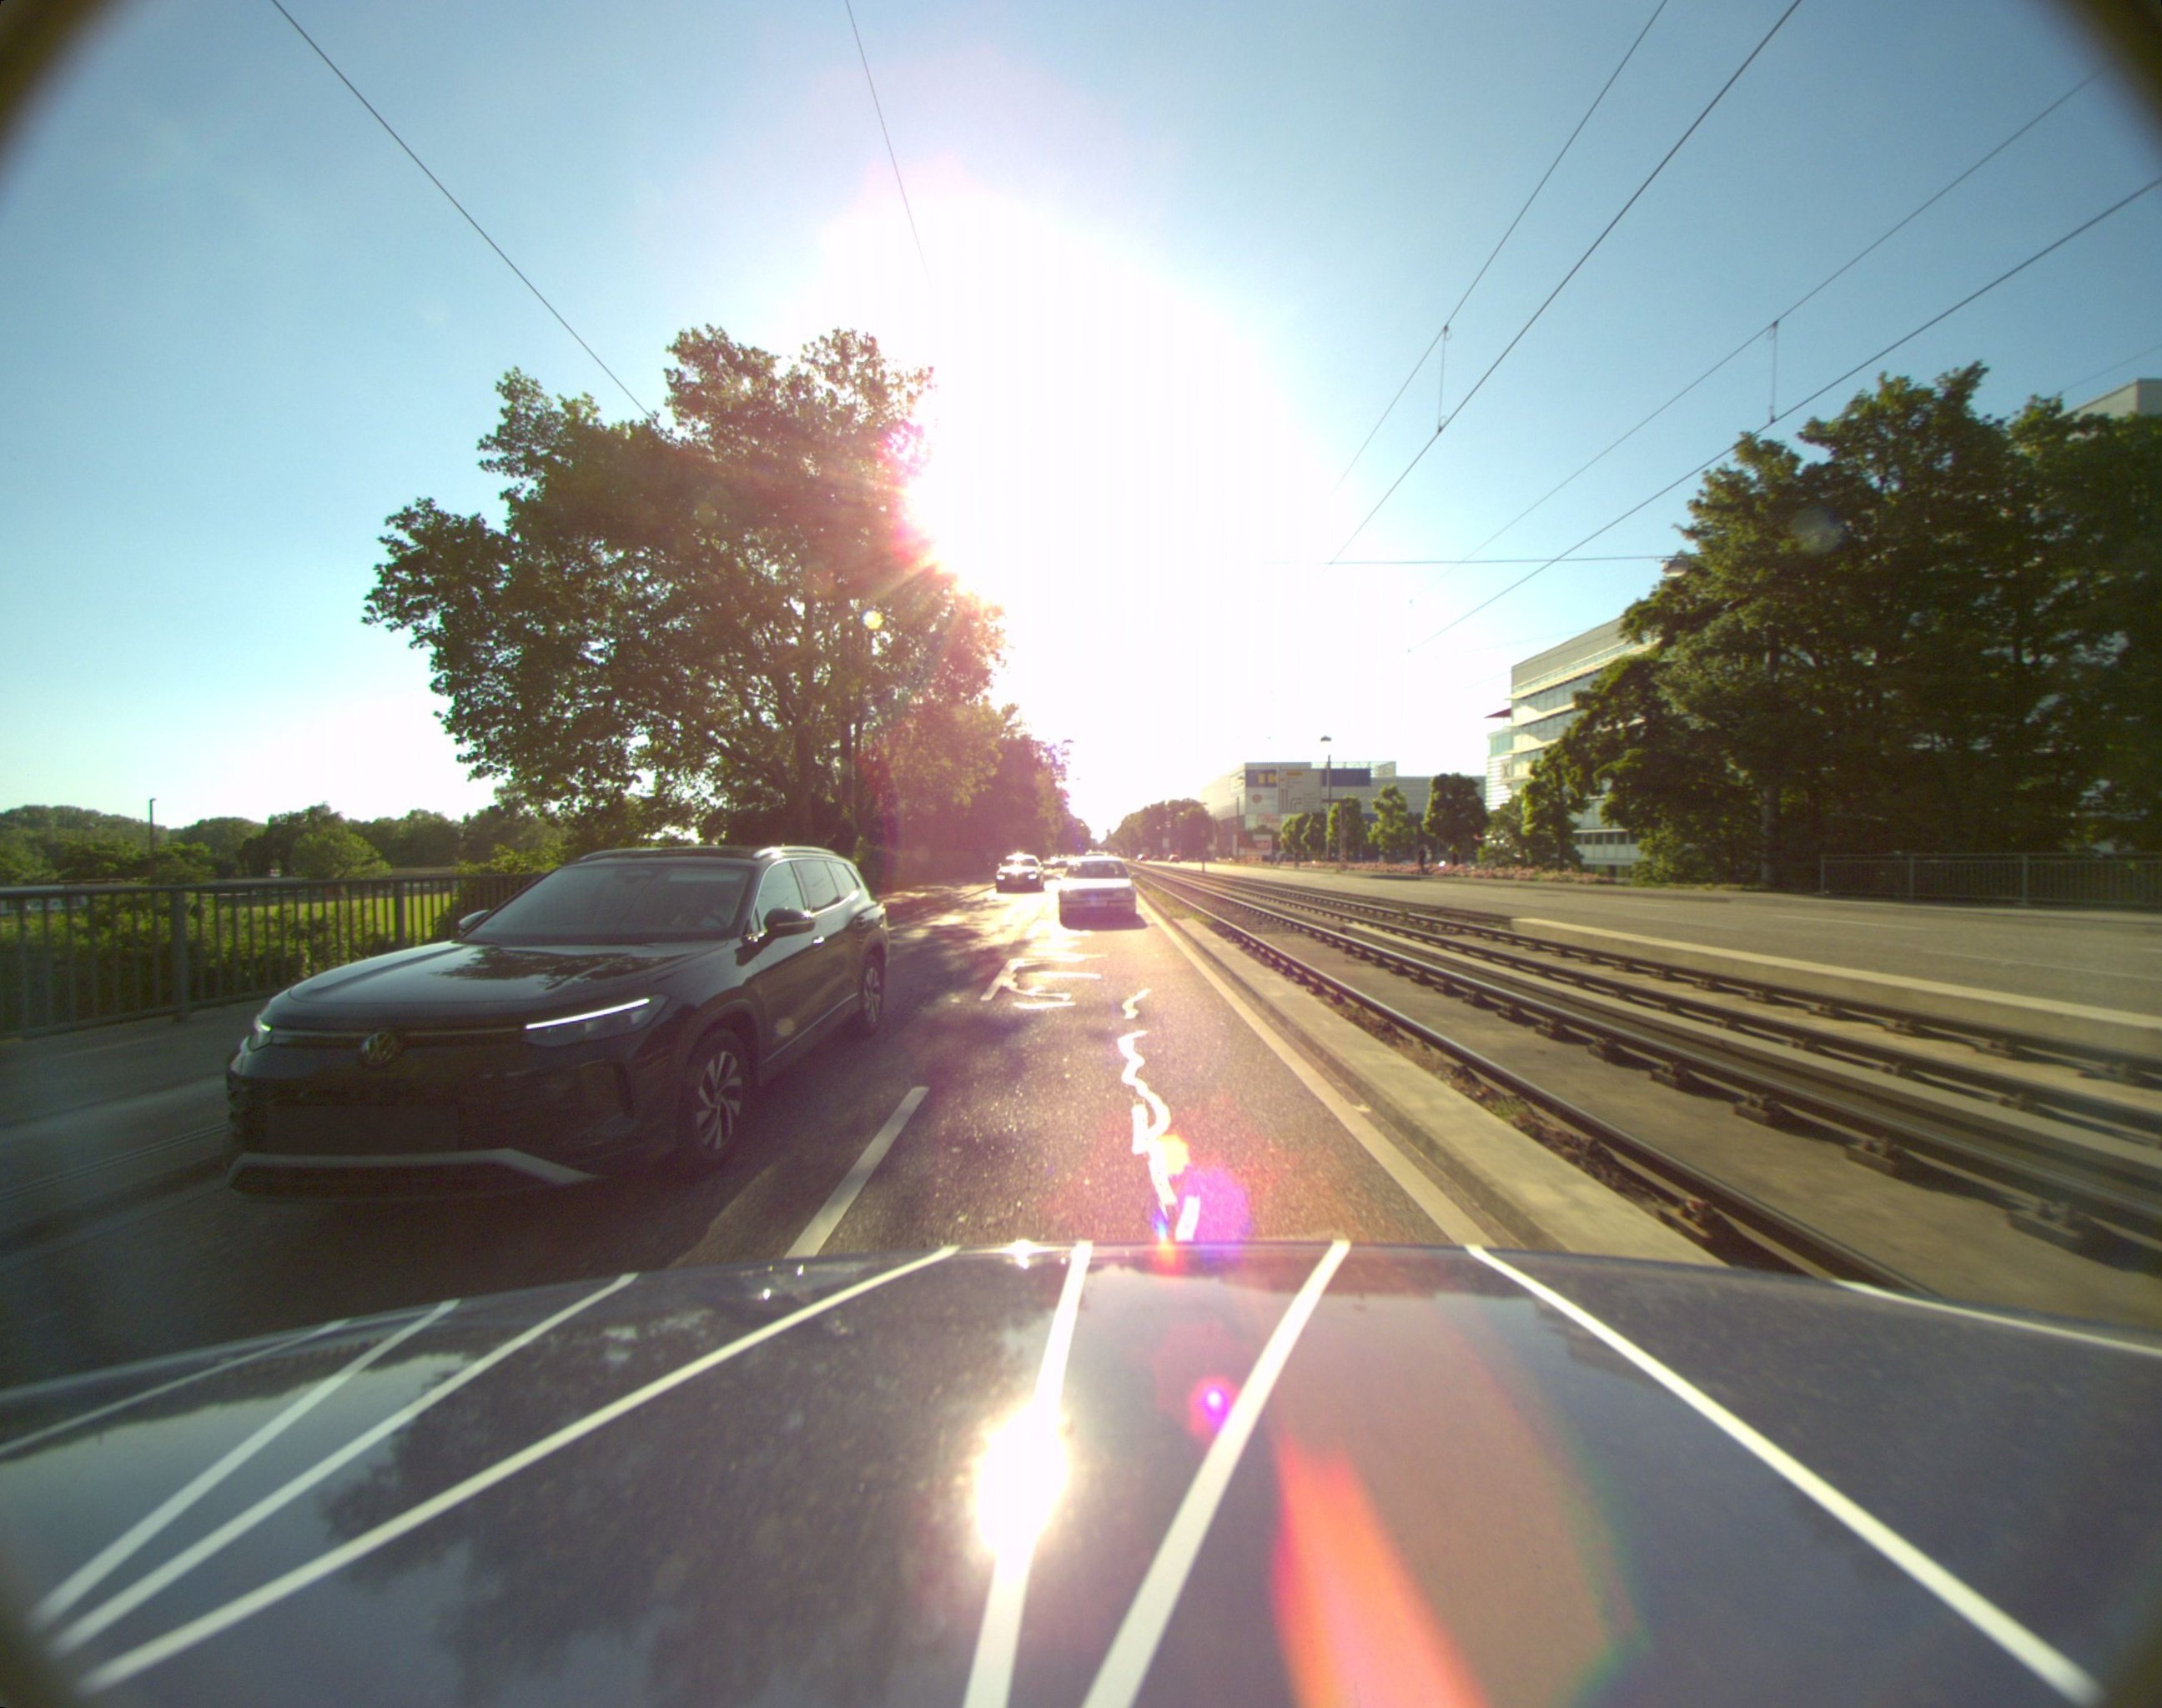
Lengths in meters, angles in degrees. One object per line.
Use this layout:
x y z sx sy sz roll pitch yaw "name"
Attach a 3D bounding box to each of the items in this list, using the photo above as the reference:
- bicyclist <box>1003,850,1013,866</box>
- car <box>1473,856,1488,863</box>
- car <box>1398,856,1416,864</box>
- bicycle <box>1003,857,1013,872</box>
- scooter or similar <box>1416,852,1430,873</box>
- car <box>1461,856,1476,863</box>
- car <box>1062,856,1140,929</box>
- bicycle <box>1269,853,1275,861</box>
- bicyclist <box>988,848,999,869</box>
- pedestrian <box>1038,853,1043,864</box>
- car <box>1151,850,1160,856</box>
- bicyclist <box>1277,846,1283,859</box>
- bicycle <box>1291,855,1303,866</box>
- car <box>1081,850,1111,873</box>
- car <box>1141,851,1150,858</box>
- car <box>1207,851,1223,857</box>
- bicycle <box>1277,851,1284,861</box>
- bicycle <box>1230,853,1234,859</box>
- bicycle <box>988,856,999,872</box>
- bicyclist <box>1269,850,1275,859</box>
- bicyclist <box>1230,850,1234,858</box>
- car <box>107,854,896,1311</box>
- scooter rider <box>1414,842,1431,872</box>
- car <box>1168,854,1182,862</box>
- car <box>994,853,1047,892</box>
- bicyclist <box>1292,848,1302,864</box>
-5.364 0.292 55.696 0.642 1.219 0.890 0 0 1 "bicyclist"
97.985 1.342 186.398 1.800 1.645 4.000 -1 0 2 "car"
81.433 1.485 189.932 1.827 1.789 4.224 -3 0 -16 "car"
-5.356 0.759 55.620 0.566 0.968 1.788 0 1 0 "bicycle"
21.806 0.549 48.452 0.473 1.288 1.263 0 1 7 "scooter or similar"
95.195 1.351 186.801 1.727 1.645 4.000 -1 0 2 "car"
0.458 0.822 17.963 1.602 1.440 3.799 -2 1 1 "car"
28.154 0.446 111.972 0.626 1.052 1.704 0 0 5 "bicycle"
-6.421 0.330 55.623 0.687 1.500 0.890 0 0 1 "bicyclist"
-6.480 0.707 122.369 0.724 1.698 0.813 0 1 0 "pedestrian"
18.692 -0.148 191.461 1.861 1.452 4.137 -1 0 -1 "car"
26.359 -0.152 100.625 0.604 1.649 0.963 -3 0 7 "bicyclist"
20.470 0.608 71.978 0.706 1.067 2.028 -3 0 7 "bicycle"
1.092 0.501 53.386 1.871 1.422 3.831 -3 0 3 "car"
15.664 0.124 184.820 1.998 1.646 4.659 1 0 2 "car"
38.575 -0.031 218.640 4.252 1.489 2.016 2 1 6 "car"
26.382 0.273 100.632 0.604 1.212 1.749 -3 0 7 "bicycle"
30.597 0.349 154.049 0.662 1.144 2.023 -3 0 10 "bicycle"
-6.407 0.709 55.630 0.623 1.114 1.812 0 2 0 "bicycle"
28.153 0.076 111.974 0.626 1.366 0.880 0 0 5 "bicyclist"
30.576 -0.044 154.041 0.662 1.614 0.802 -3 0 10 "bicyclist"
-2.706 0.863 5.075 1.849 1.651 4.439 -1 1 0 "car"
21.763 0.184 48.433 0.683 1.838 1.001 0 1 8 "scooter rider"
17.688 0.746 142.639 2.044 1.494 4.887 0 0 1 "car"
-2.496 0.724 32.210 1.870 1.459 4.585 0 1 0 "car"
20.456 0.170 72.008 0.706 1.503 0.971 -3 0 7 "bicyclist"
